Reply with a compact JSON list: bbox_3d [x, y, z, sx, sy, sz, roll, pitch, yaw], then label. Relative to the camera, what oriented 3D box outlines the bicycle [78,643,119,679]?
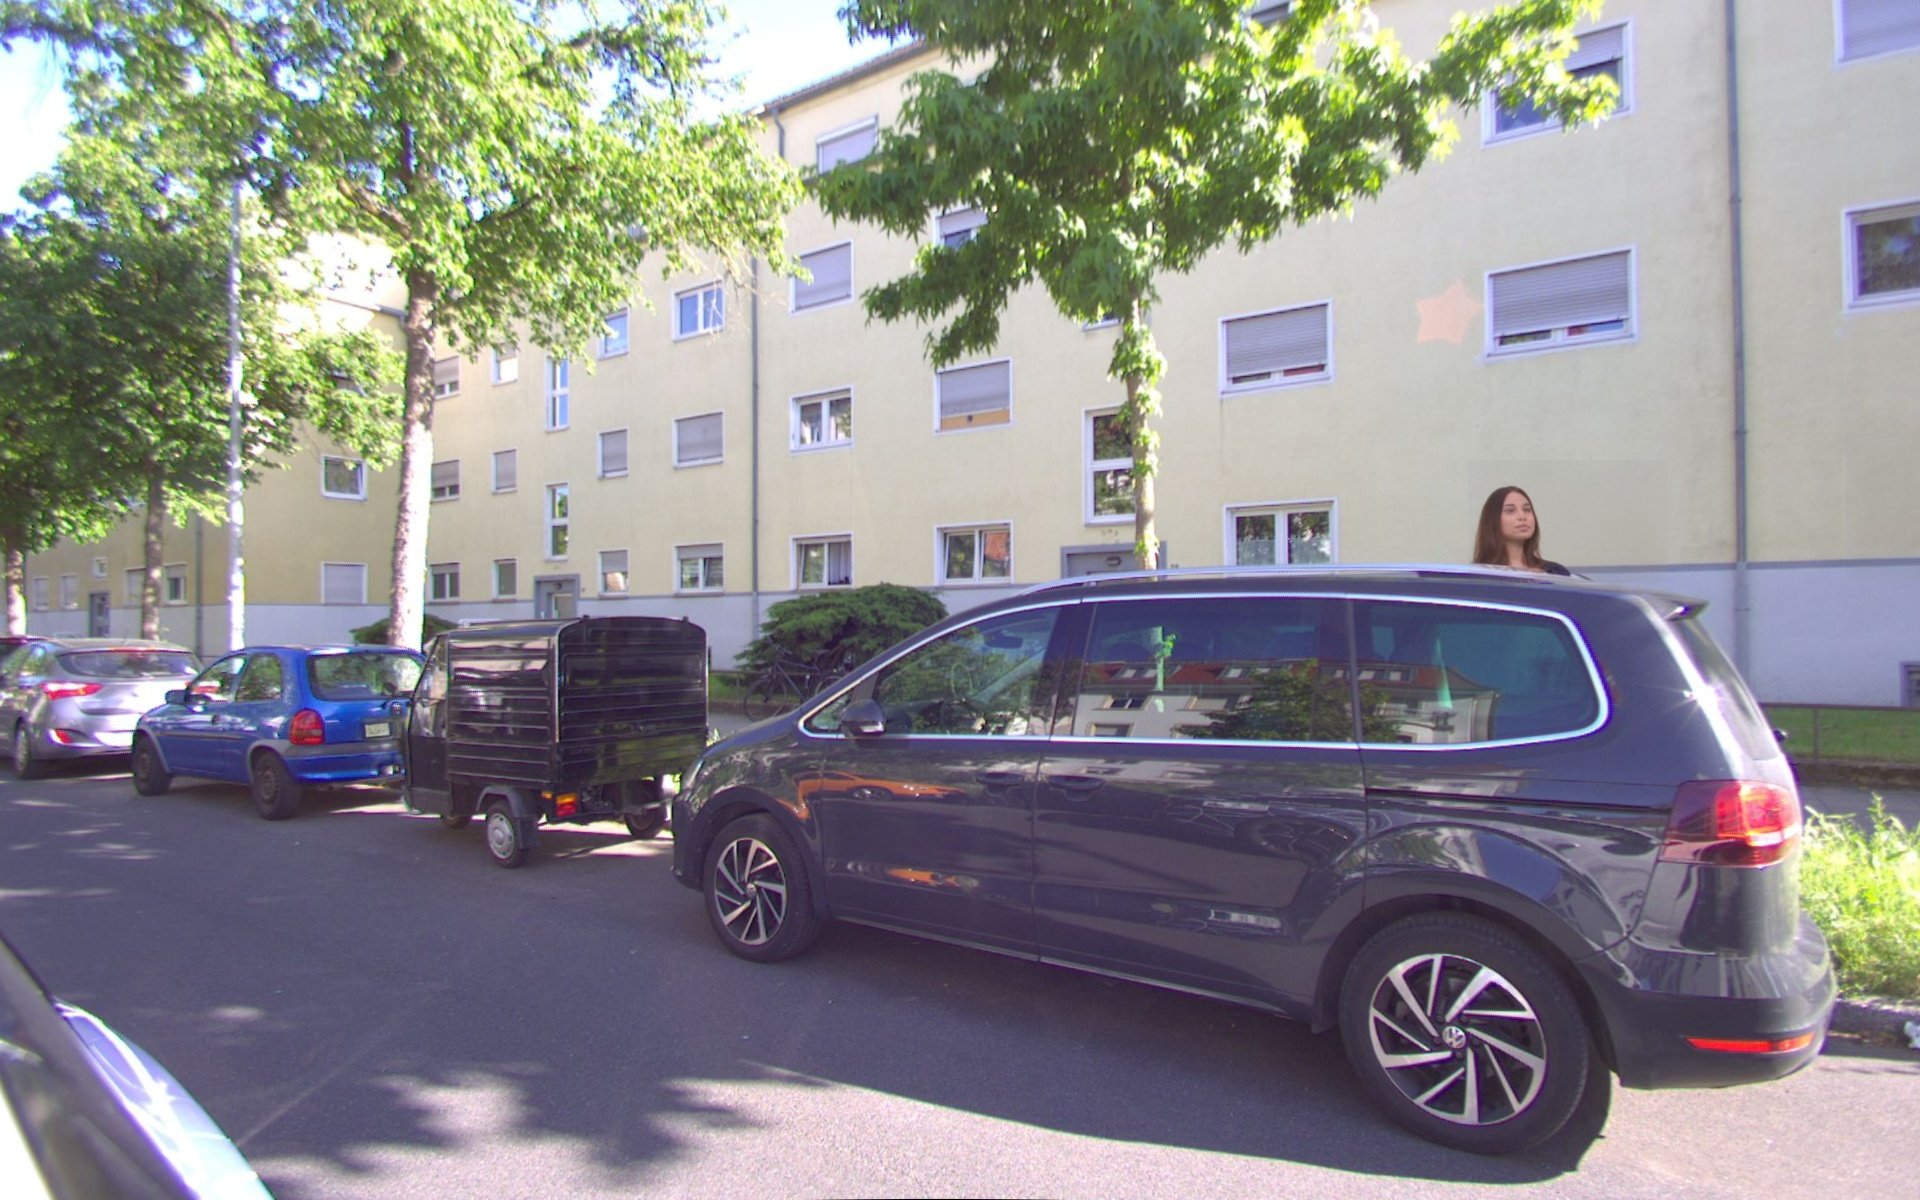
[{"bbox_3d":[-25.969,1.827,30.497,1.744,1.034,0.531,-2,-2,36],"label":"bicycle"}]

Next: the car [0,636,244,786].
[{"bbox_3d":[-10.421,1.176,11.950,4.678,1.455,1.776,-2,-4,36],"label":"car"}]

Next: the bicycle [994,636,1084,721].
[{"bbox_3d":[1.126,1.056,14.099,0.485,1.089,1.826,-2,-2,30],"label":"bicycle"}]

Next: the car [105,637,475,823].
[{"bbox_3d":[-6.301,1.062,9.424,3.715,1.406,1.508,-2,-2,33],"label":"car"}]

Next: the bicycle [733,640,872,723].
[{"bbox_3d":[-2.169,1.109,13.959,1.825,1.089,0.485,-1,1,10],"label":"bicycle"}]

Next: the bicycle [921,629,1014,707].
[{"bbox_3d":[0.143,1.046,16.035,0.486,1.089,1.822,0,1,37],"label":"bicycle"}]

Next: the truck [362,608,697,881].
[{"bbox_3d":[-3.049,0.882,7.070,2.427,1.589,1.074,-2,-2,36],"label":"truck"}]

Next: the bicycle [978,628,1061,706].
[{"bbox_3d":[1.038,1.103,17.171,0.486,1.154,1.822,0,1,37],"label":"bicycle"}]

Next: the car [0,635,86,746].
[{"bbox_3d":[-14.938,1.306,15.268,4.259,1.527,1.606,-2,-4,35],"label":"car"}]

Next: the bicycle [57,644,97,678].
[{"bbox_3d":[-27.564,1.882,31.578,1.744,1.034,0.535,-2,-2,36],"label":"bicycle"}]

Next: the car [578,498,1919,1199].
[{"bbox_3d":[0.699,0.728,4.370,4.963,1.693,1.834,-2,-5,34],"label":"car"}]
